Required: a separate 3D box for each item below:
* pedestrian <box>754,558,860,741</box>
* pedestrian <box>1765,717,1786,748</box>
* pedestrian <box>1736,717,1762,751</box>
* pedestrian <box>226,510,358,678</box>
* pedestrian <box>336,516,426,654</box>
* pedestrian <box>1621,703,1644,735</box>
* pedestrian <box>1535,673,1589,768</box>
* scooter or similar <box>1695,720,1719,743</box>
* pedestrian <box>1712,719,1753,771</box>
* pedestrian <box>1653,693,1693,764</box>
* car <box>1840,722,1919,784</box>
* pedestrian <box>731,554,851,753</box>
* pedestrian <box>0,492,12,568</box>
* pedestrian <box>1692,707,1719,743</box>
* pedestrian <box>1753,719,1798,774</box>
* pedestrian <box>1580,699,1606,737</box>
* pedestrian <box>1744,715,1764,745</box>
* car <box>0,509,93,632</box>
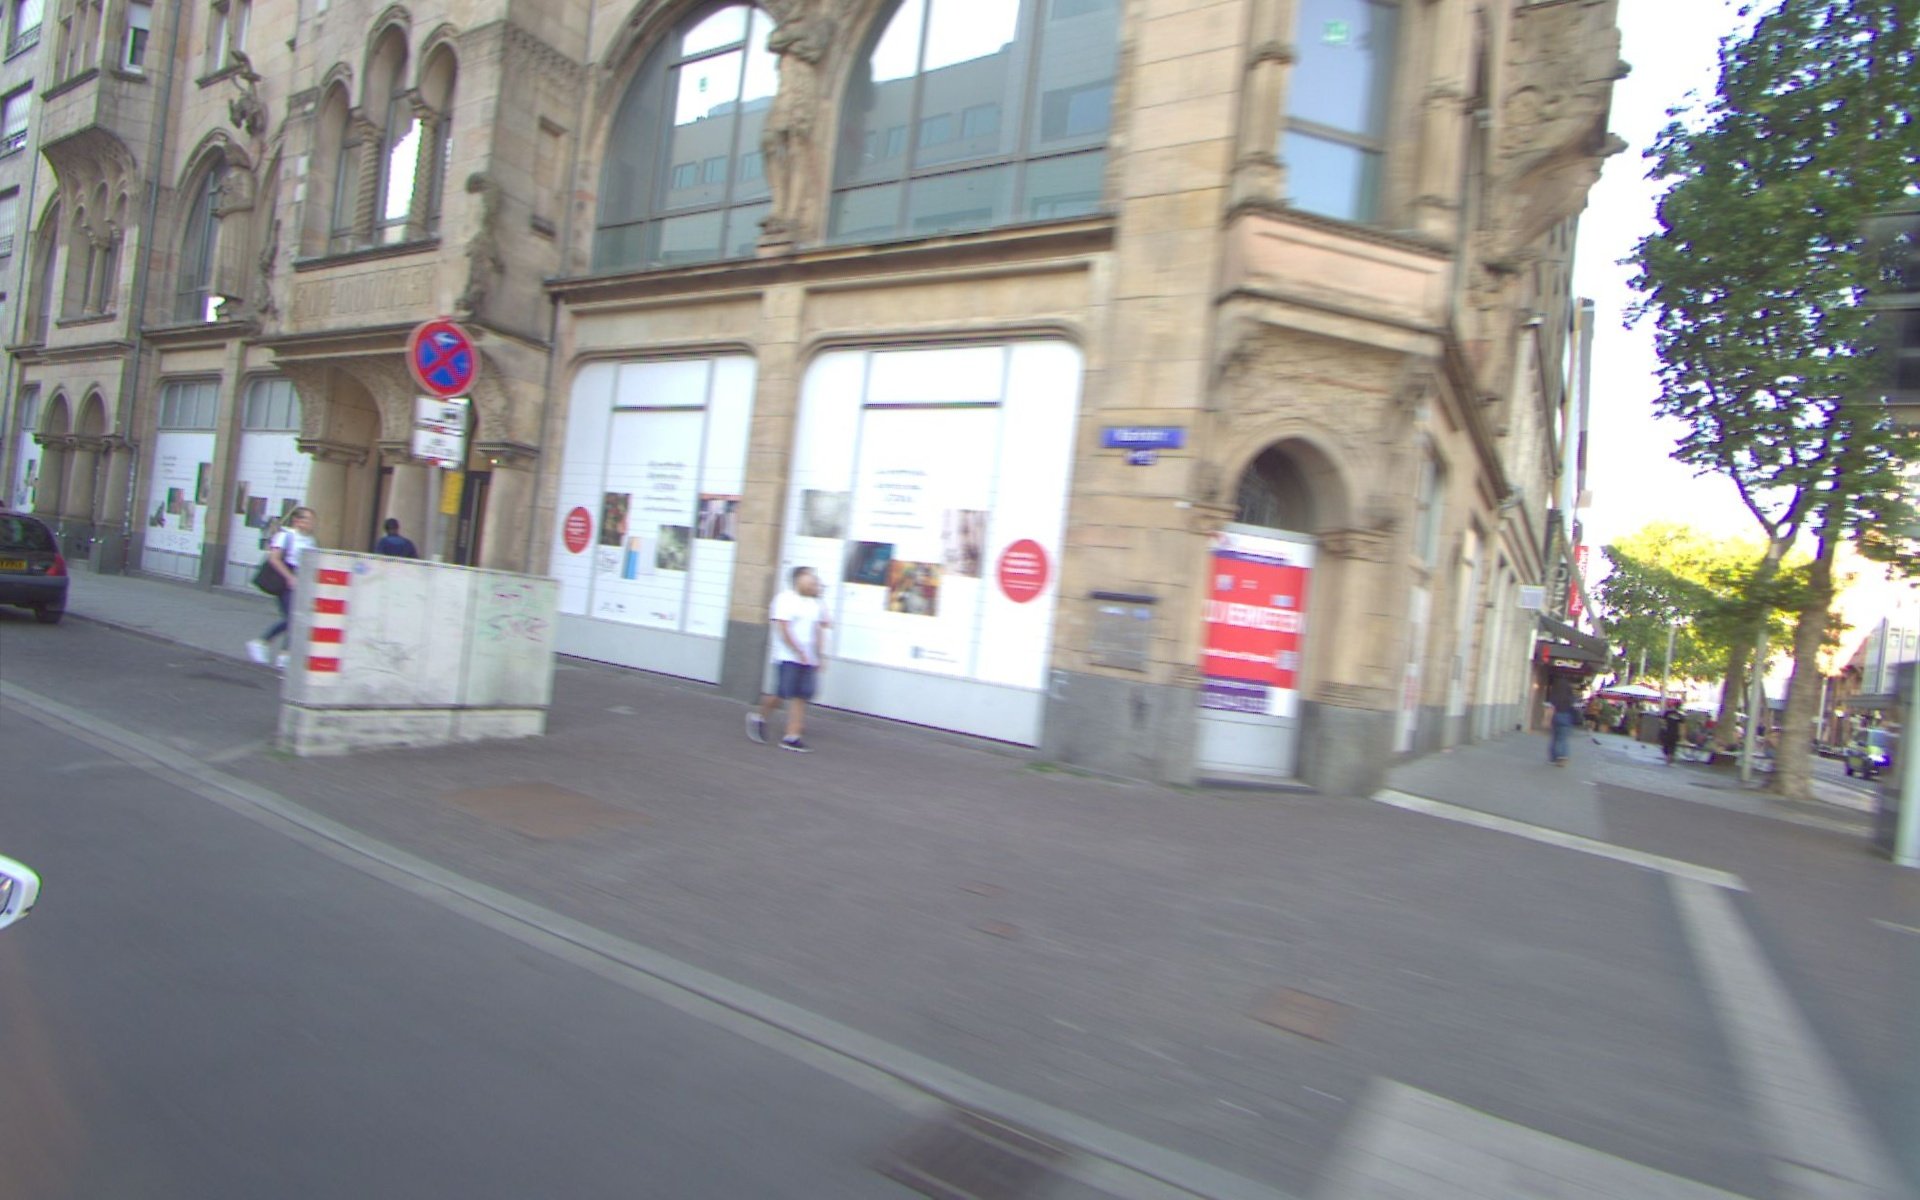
[{"bbox_3d":[-1.517,0.494,10.017,0.615,1.710,0.626,7,0,30],"label":"pedestrian"},{"bbox_3d":[49.889,8.117,61.569,0.747,1.747,0.663,6,-2,31],"label":"pedestrian"},{"bbox_3d":[40.068,6.805,51.090,0.819,1.629,0.663,6,-2,32],"label":"pedestrian"},{"bbox_3d":[-7.377,-0.050,11.129,0.669,1.741,0.836,7,0,24],"label":"pedestrian"},{"bbox_3d":[-7.582,-0.190,13.184,0.660,1.710,0.626,7,0,30],"label":"pedestrian"},{"bbox_3d":[36.401,6.431,54.462,0.819,1.629,0.663,6,-2,32],"label":"pedestrian"},{"bbox_3d":[11.163,2.225,18.665,0.701,1.629,0.821,6,-2,31],"label":"pedestrian"},{"bbox_3d":[35.608,6.279,47.966,0.772,0.980,0.663,6,-2,32],"label":"scooter or similar"},{"bbox_3d":[23.235,4.363,30.259,0.770,1.431,0.778,6,-2,31],"label":"pedestrian"},{"bbox_3d":[19.972,3.595,28.195,0.701,1.844,0.778,6,-2,31],"label":"pedestrian"},{"bbox_3d":[35.308,5.804,38.230,1.967,2.036,4.290,6,-3,32],"label":"car"},{"bbox_3d":[-1.551,0.483,9.256,0.660,1.710,0.626,7,0,30],"label":"pedestrian"},{"bbox_3d":[-22.080,-1.624,22.747,0.660,1.710,0.645,7,0,30],"label":"pedestrian"},{"bbox_3d":[35.959,6.026,48.536,0.819,1.629,0.663,6,-2,32],"label":"pedestrian"},{"bbox_3d":[23.362,4.179,28.838,0.766,1.431,0.782,6,-2,31],"label":"pedestrian"},{"bbox_3d":[29.206,5.434,46.415,0.819,1.629,0.663,6,-2,32],"label":"pedestrian"},{"bbox_3d":[48.870,7.996,61.924,0.747,1.747,0.663,6,-2,31],"label":"pedestrian"},{"bbox_3d":[-13.175,-0.517,13.176,3.612,1.442,1.680,6,0,32],"label":"car"}]
